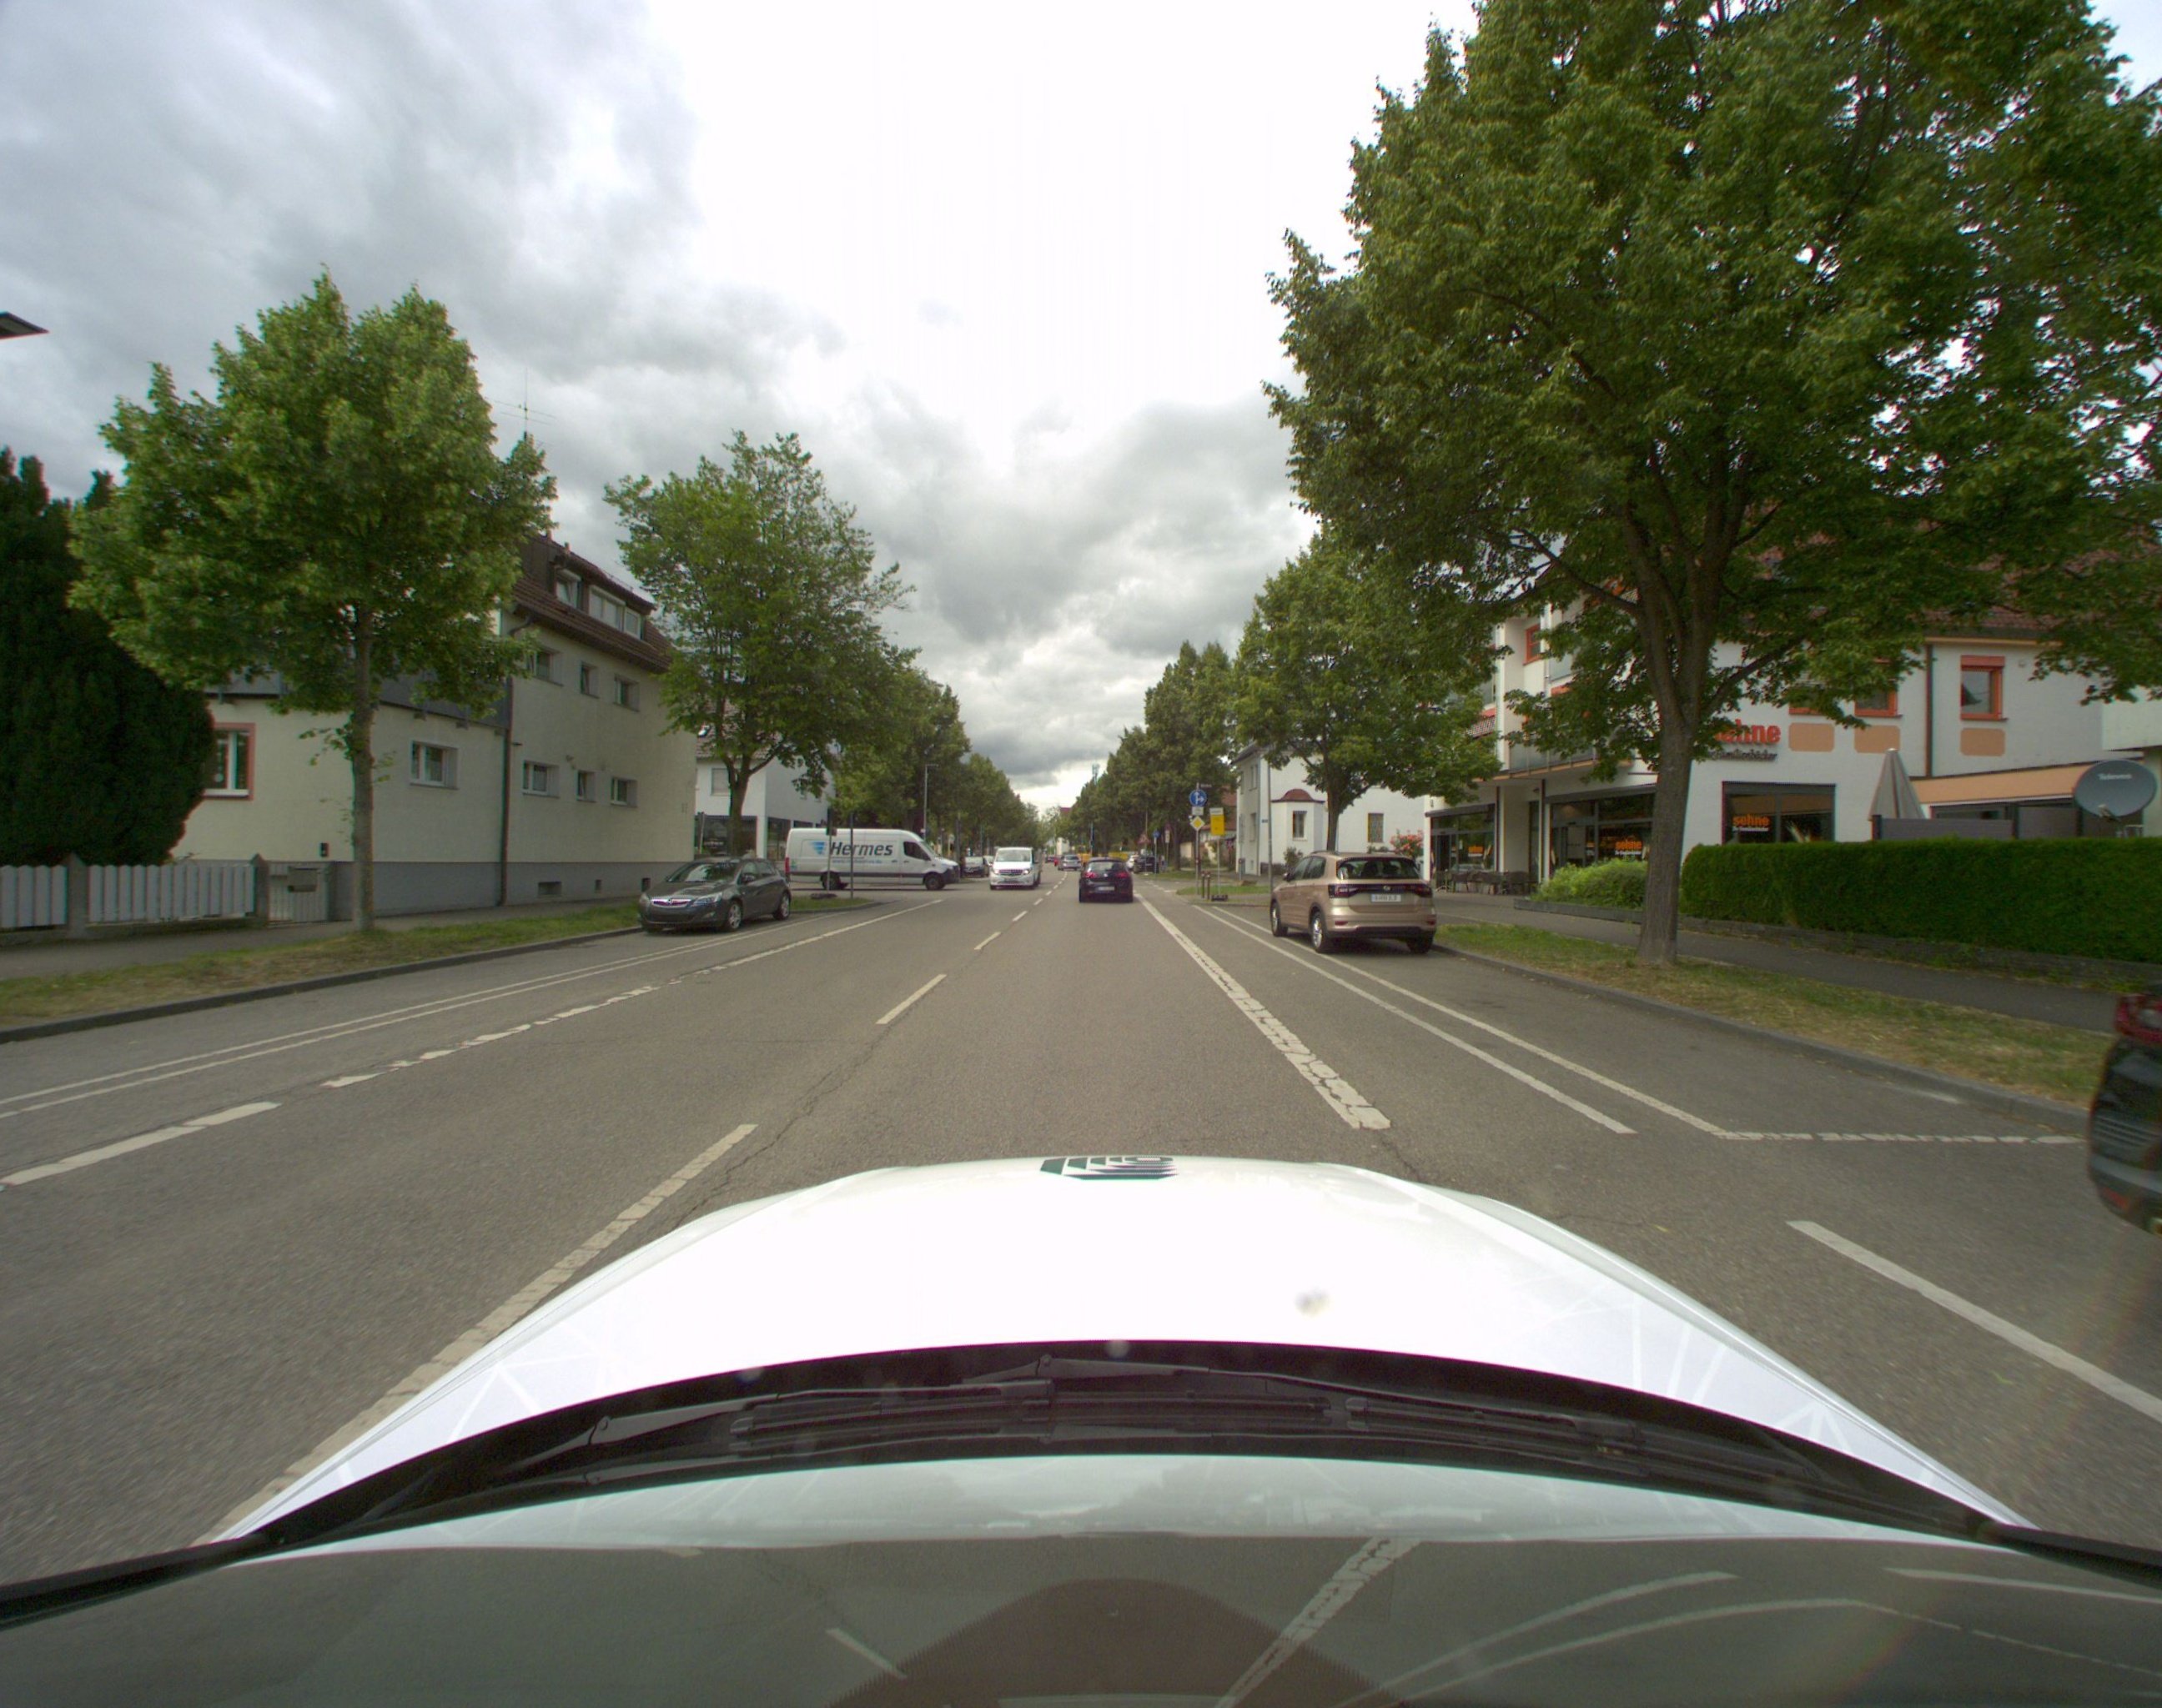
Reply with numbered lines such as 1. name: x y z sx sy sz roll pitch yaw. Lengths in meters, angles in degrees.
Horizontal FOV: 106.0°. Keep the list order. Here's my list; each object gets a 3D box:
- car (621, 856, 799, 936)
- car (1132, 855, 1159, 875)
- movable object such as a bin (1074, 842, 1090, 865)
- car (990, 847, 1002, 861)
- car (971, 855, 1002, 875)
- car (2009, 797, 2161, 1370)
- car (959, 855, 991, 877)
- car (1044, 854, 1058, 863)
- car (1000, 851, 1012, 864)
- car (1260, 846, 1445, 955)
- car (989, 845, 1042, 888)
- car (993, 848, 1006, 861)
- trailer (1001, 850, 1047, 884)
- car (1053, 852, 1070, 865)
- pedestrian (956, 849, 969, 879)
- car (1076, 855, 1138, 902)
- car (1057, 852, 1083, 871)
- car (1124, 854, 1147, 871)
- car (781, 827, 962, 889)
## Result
1. car: -7.697 0.796 17.431 1.724 1.469 4.303 0 0 2
2. car: 4.966 0.822 63.049 1.700 1.454 4.615 0 0 -1
3. movable object such as a bin: 0.087 -0.030 95.044 1.763 2.574 3.737 0 0 -2
4. car: -16.106 0.017 154.068 2.091 2.626 5.031 0 0 -8
5. car: -7.141 0.818 62.039 1.707 1.406 4.302 0 0 2
6. car: 5.212 0.627 2.024 4.210 1.638 1.690 -1 0 -5
7. car: -7.150 0.777 55.197 1.638 1.420 4.019 -1 0 -1
8. car: -4.889 0.692 132.539 1.809 1.375 3.682 0 0 -9
9. car: -11.247 0.530 121.944 1.666 1.772 4.456 -1 0 -7
10. car: 4.379 0.669 13.820 1.717 1.580 4.058 0 0 -2
11. car: -2.913 0.538 37.013 1.959 1.830 4.819 0 0 0
12. car: -14.434 0.117 143.718 2.091 2.175 5.031 0 0 -8
13. trailer: -2.861 0.631 41.771 1.931 1.677 4.688 0 0 0
14. car: -2.486 0.581 102.557 1.789 1.623 3.730 0 0 -7
15. pedestrian: -6.863 0.581 47.158 0.539 1.681 0.752 2 1 9
16. car: 0.791 0.753 26.938 1.814 1.437 3.737 0 0 -2
17. car: -1.042 0.662 76.111 1.905 1.685 3.729 0 0 -8
18. car: 4.830 0.736 72.768 1.668 1.462 3.997 0 0 -2
19. car: -8.942 0.182 35.325 7.273 2.594 2.218 0 0 -4
